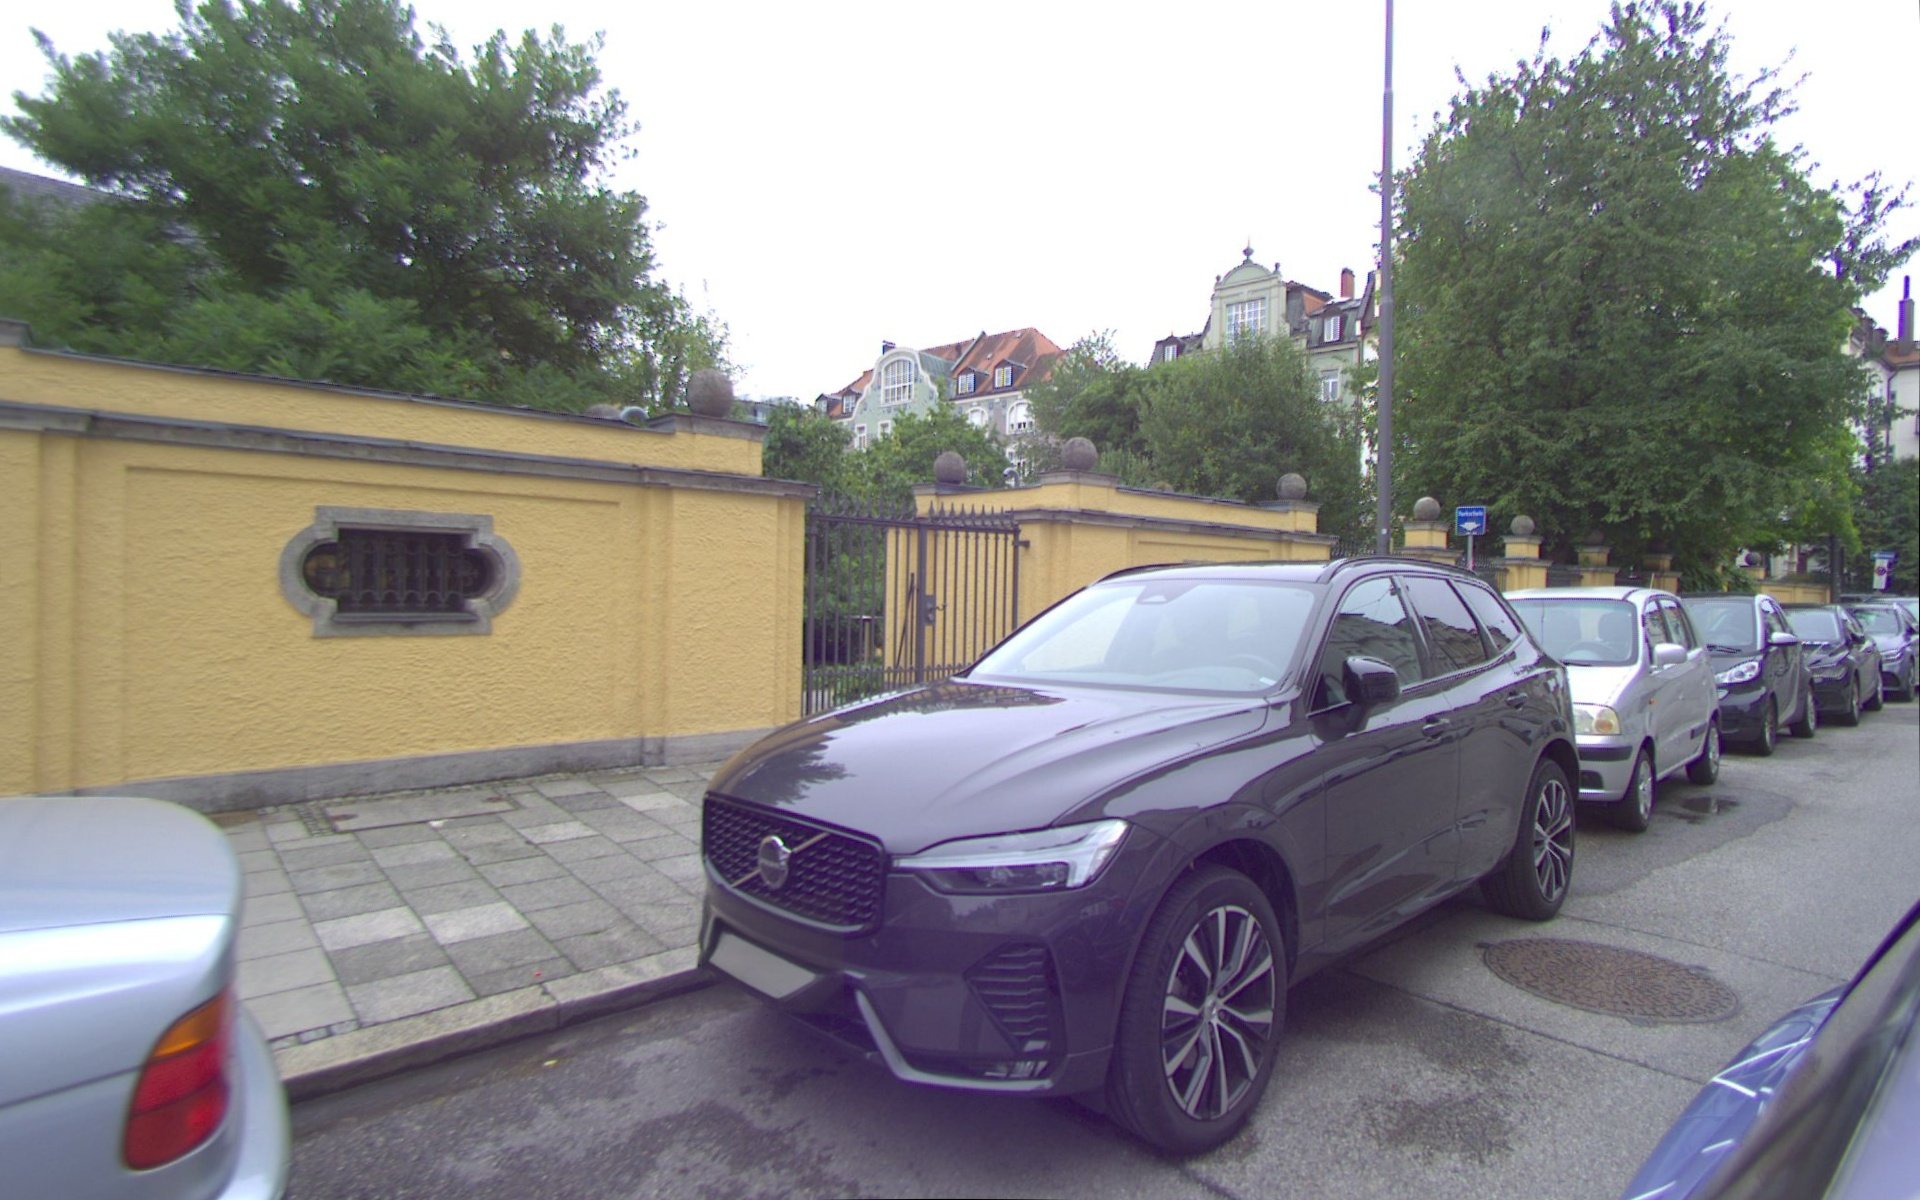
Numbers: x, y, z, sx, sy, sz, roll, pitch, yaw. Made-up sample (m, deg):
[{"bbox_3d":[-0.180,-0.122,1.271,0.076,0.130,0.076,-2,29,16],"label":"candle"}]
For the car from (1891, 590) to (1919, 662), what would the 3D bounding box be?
[{"bbox_3d":[22.994,0.597,23.346,4.244,1.590,1.716,0,2,-41],"label":"car"}]

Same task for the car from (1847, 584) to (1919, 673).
[{"bbox_3d":[19.181,0.529,20.087,4.609,1.590,1.716,0,2,-41],"label":"car"}]

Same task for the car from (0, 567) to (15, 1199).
[{"bbox_3d":[-3.333,0.693,0.409,4.296,1.467,1.886,0,-1,-44],"label":"car"}]

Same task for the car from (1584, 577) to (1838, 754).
[{"bbox_3d":[7.893,0.594,10.583,2.818,1.586,1.511,0,-1,-40],"label":"car"}]

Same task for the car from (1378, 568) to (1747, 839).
[{"bbox_3d":[4.680,0.604,7.641,3.631,1.559,1.485,0,-1,-44],"label":"car"}]

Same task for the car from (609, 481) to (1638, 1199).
[{"bbox_3d":[1.173,0.606,4.360,4.742,1.674,1.886,0,-1,-43],"label":"car"}]

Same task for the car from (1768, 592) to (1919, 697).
[{"bbox_3d":[14.636,0.629,16.282,4.435,1.432,1.695,0,2,-40],"label":"car"}]

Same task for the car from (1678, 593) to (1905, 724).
[{"bbox_3d":[10.802,0.646,13.056,3.967,1.432,1.694,0,-1,-42],"label":"car"}]
